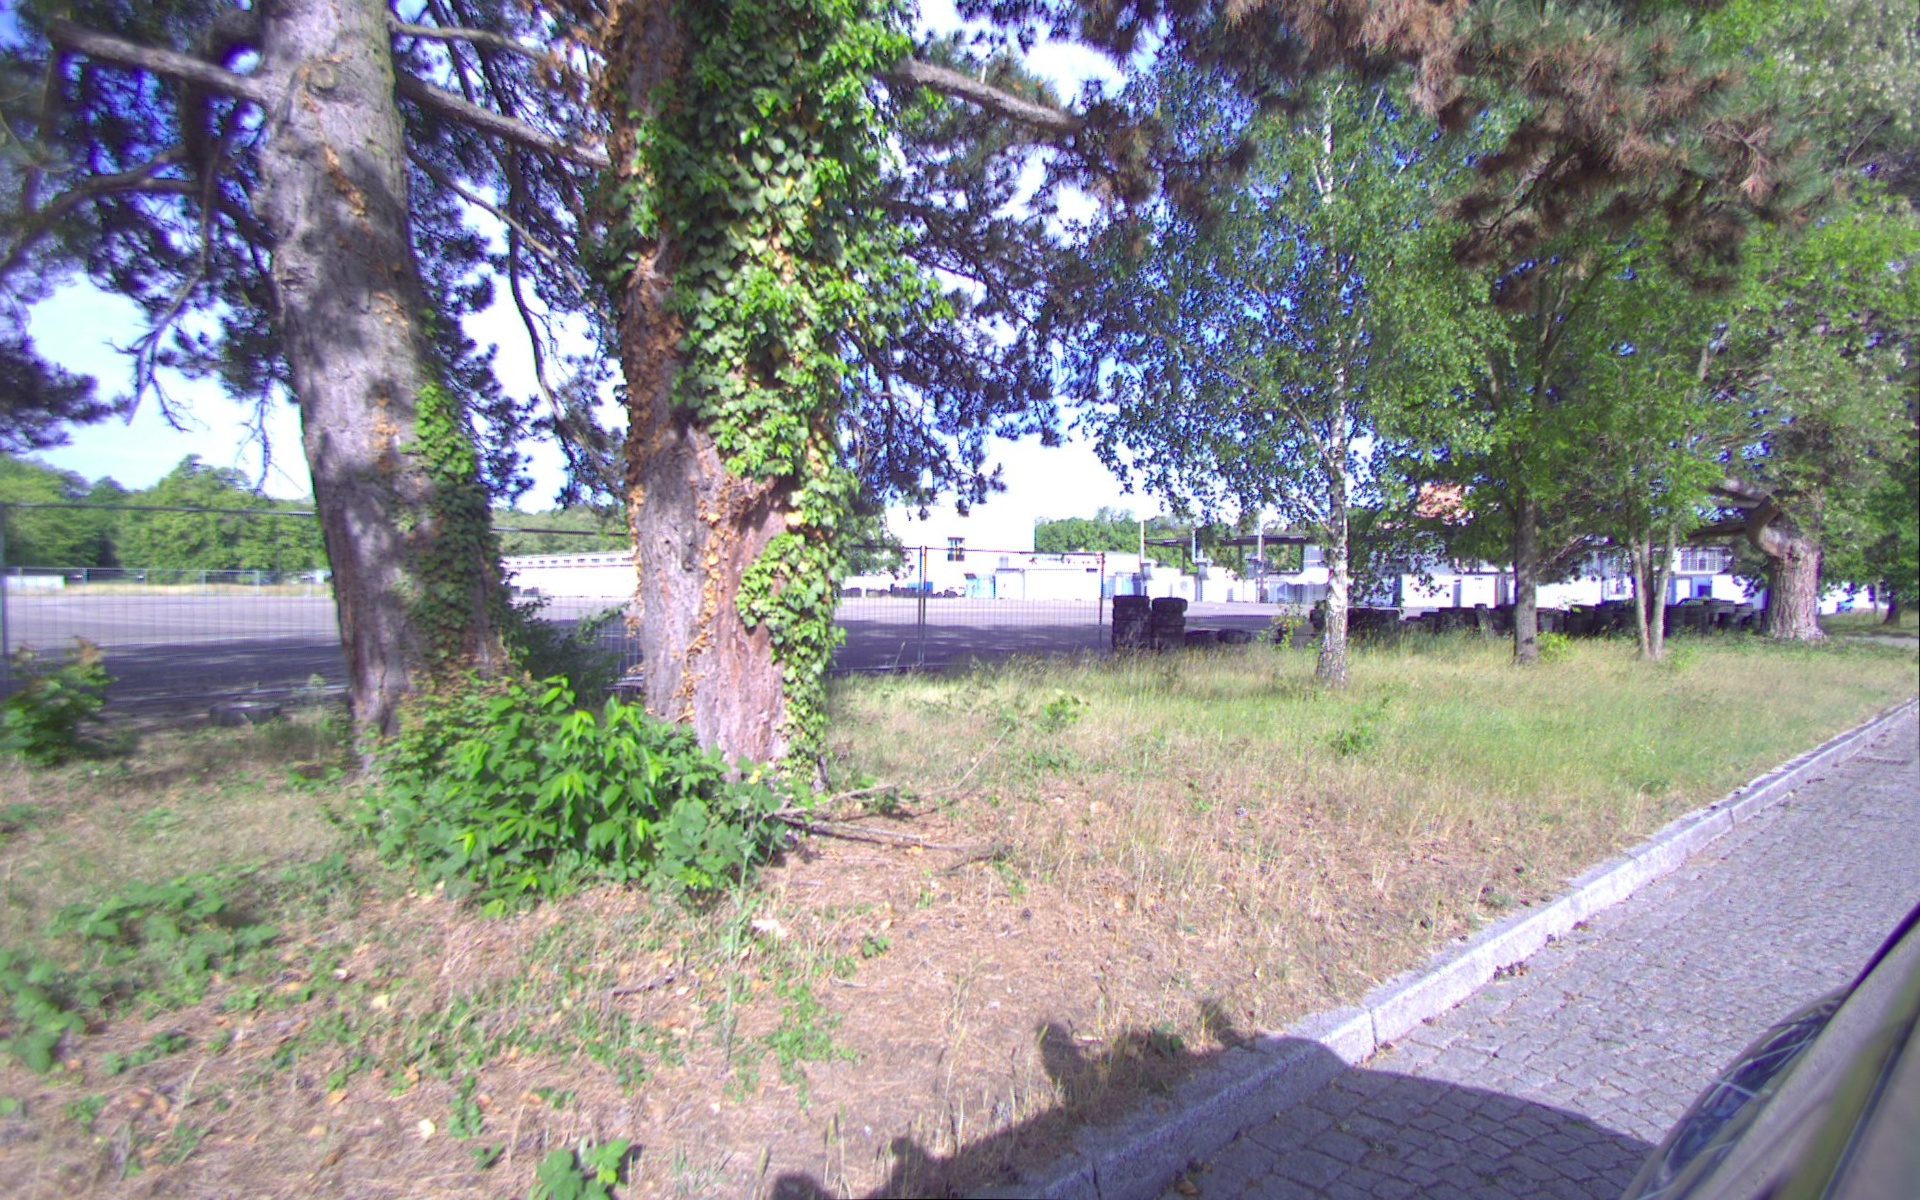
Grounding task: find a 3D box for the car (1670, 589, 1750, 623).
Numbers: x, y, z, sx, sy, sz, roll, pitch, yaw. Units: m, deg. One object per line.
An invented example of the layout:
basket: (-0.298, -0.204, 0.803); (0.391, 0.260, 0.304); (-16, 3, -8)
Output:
car: (34.446, 0.247, 46.453); (3.924, 1.467, 1.848); (0, 1, -36)
